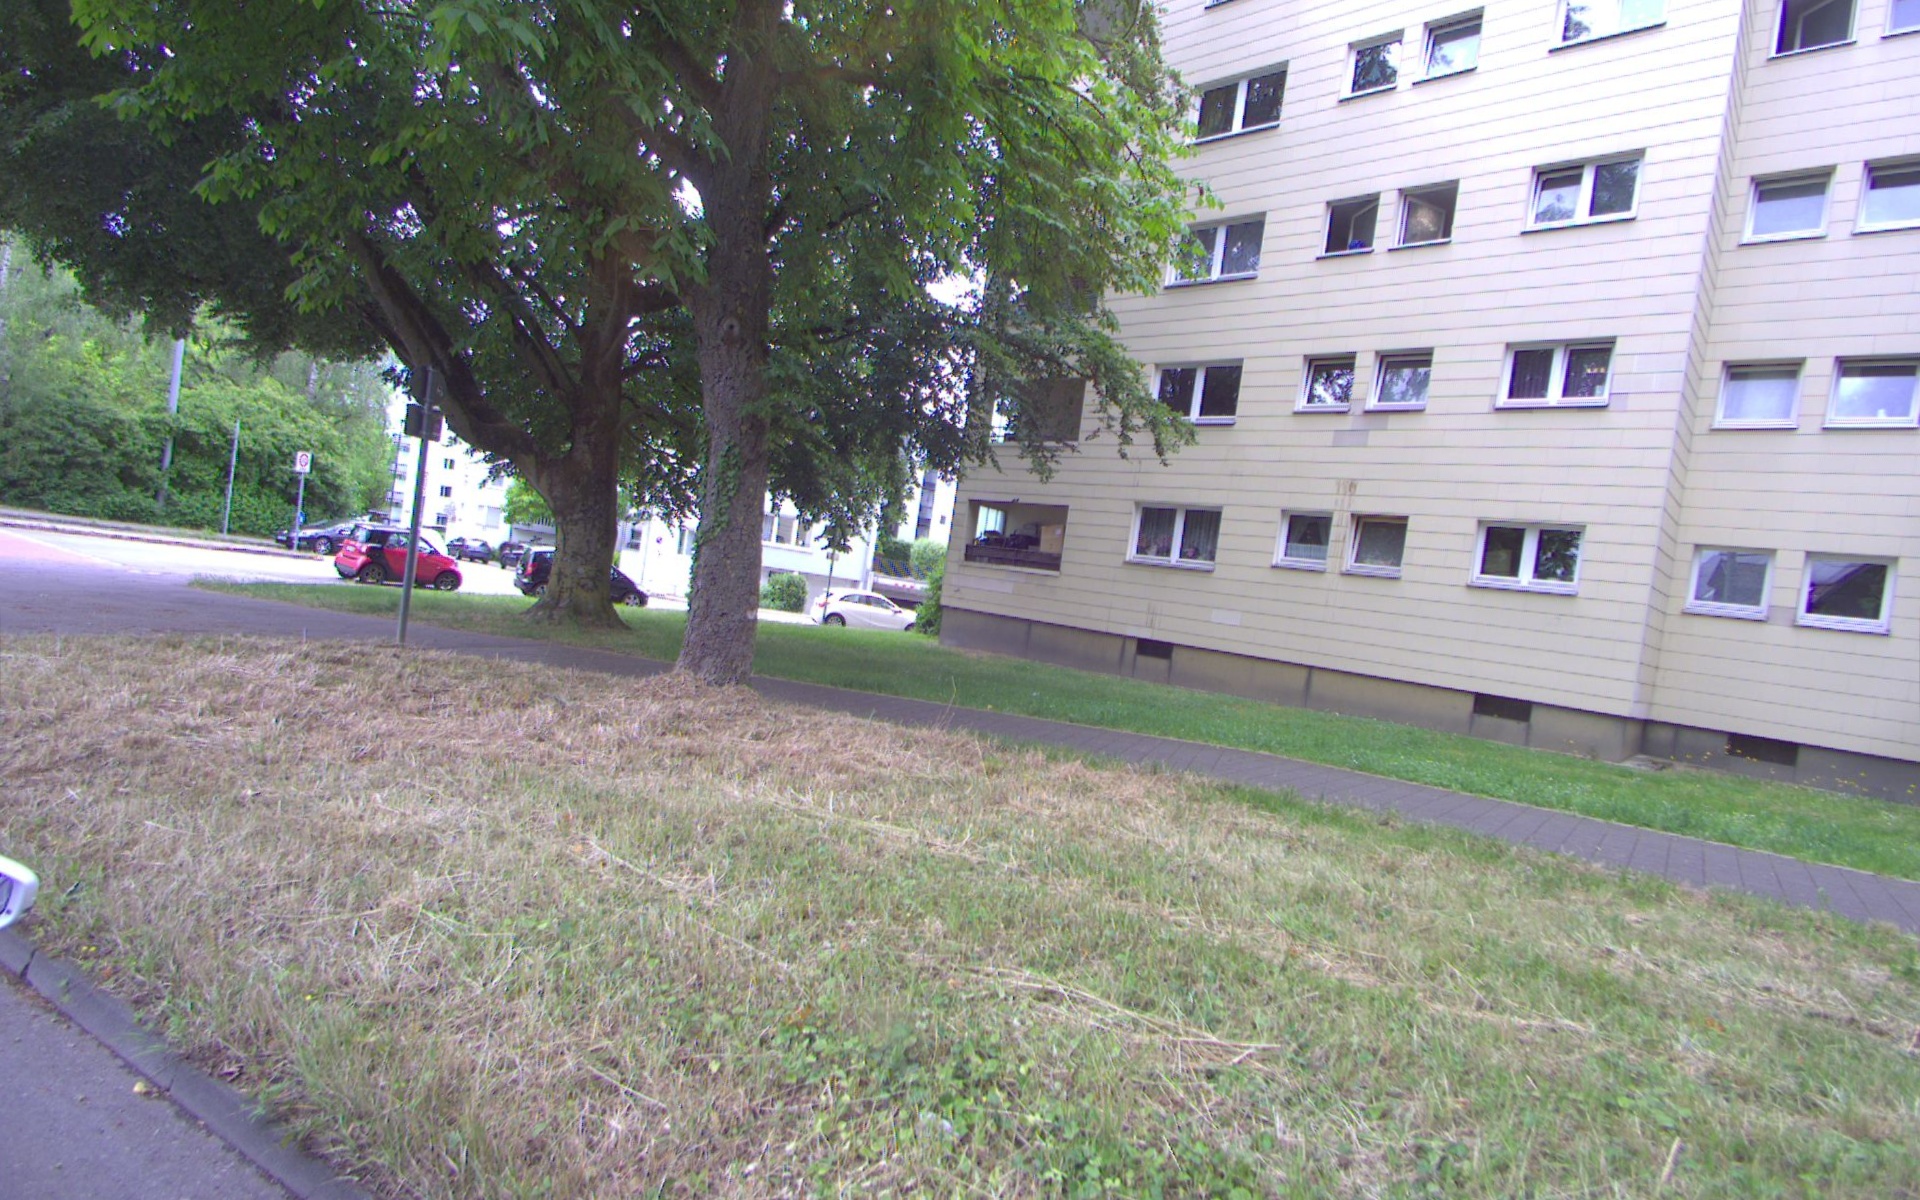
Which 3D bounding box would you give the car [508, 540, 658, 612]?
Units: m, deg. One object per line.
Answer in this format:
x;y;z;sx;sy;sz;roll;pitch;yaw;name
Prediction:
-11.226;-0.711;30.013;3.814;1.631;1.713;7;1;-33;car

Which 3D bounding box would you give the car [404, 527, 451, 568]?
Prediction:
-25.053;-2.490;47.266;1.709;1.631;3.823;6;1;-30;car

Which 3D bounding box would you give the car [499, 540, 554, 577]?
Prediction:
-23.367;-2.247;54.155;1.713;1.631;3.813;6;1;-38;car

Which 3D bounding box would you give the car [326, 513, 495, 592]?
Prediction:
-14.694;-1.245;27.037;1.702;1.631;3.516;8;1;37;car

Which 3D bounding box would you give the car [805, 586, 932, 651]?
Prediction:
-3.056;0.599;33.406;3.796;1.631;1.721;7;1;-18;car

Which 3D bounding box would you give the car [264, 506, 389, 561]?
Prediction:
-23.573;-2.450;37.516;1.702;1.549;3.515;8;1;38;car

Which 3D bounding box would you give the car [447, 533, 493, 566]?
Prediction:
-30.295;-3.127;62.104;1.713;1.631;3.813;6;1;-38;car
